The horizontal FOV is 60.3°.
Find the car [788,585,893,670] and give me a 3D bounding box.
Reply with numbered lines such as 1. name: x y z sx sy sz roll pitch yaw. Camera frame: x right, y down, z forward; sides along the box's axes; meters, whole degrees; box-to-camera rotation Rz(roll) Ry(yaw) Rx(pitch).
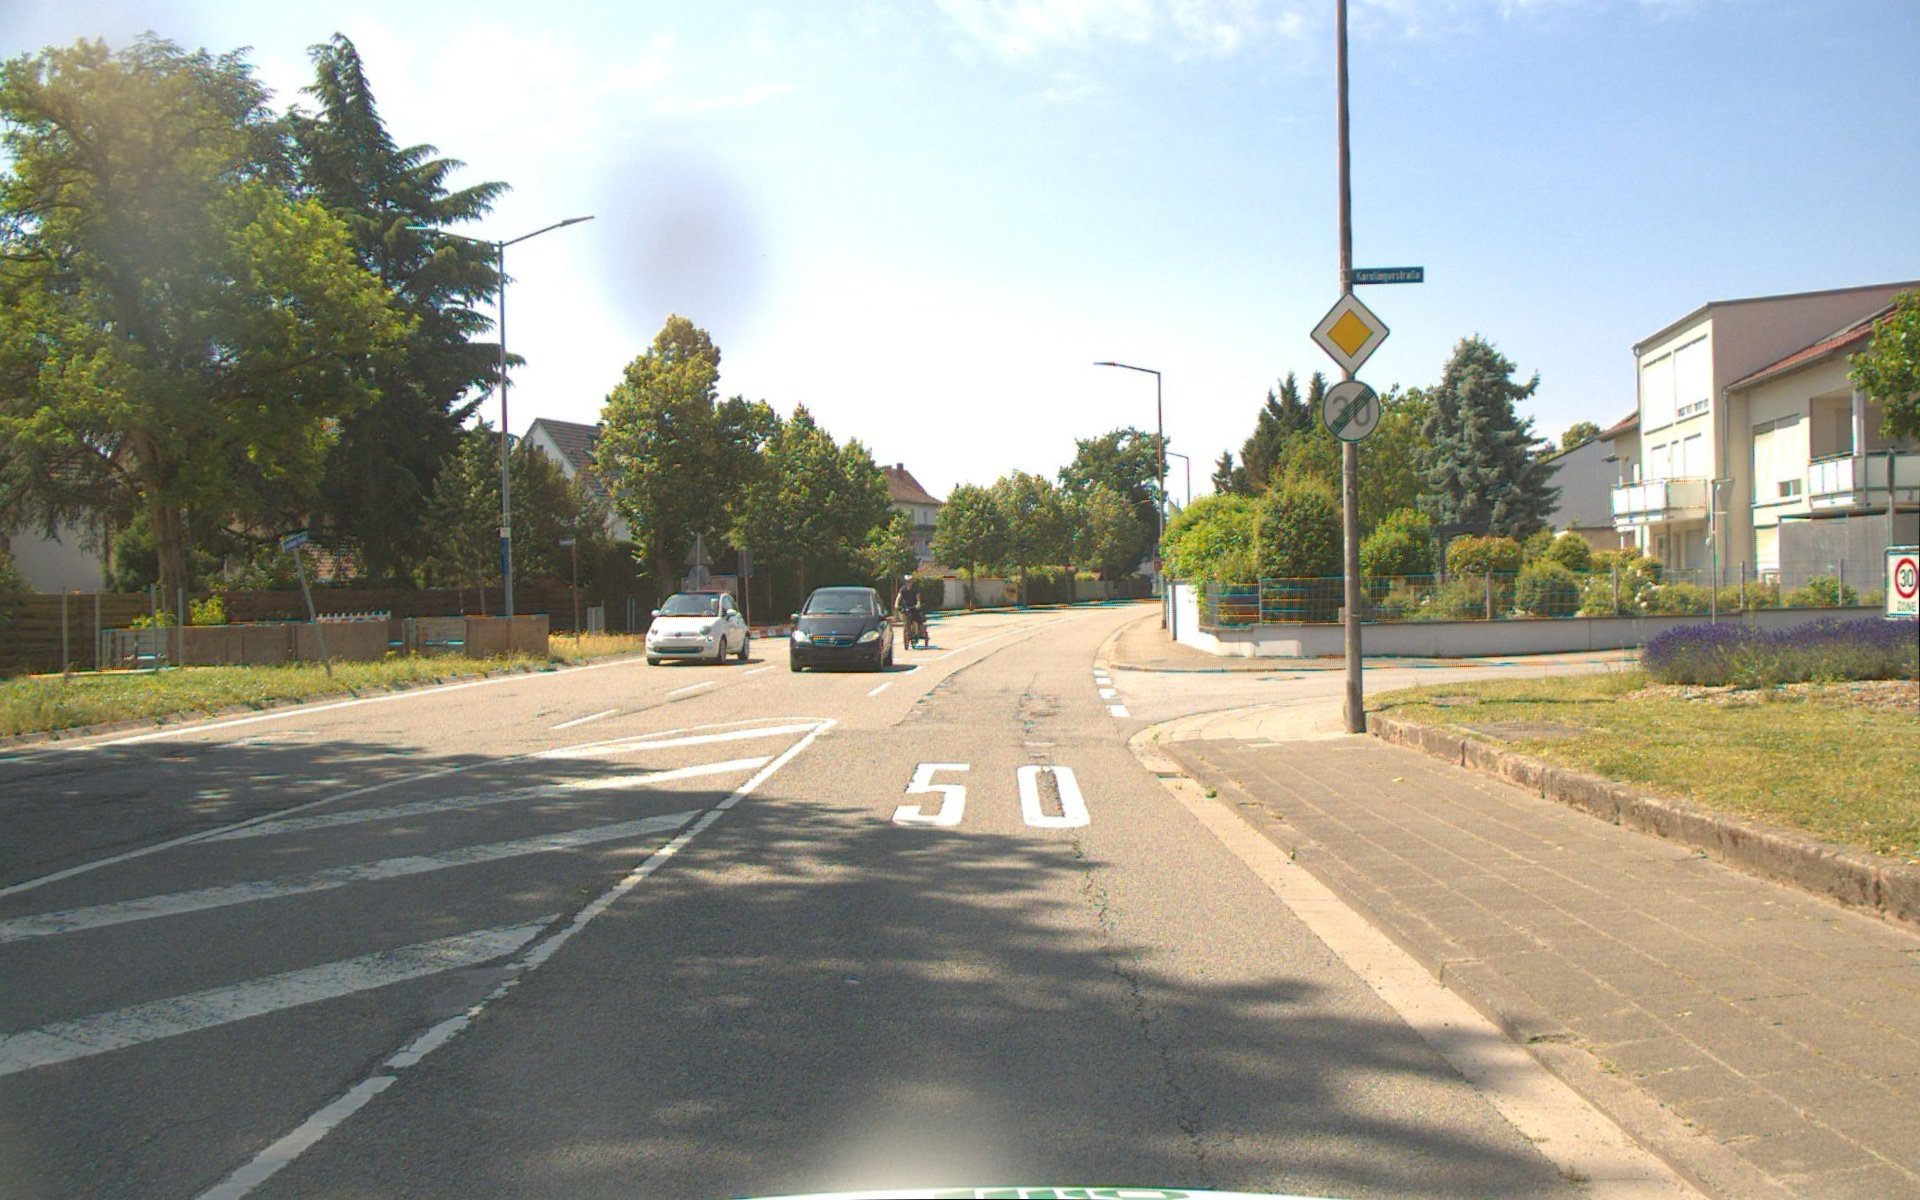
1. car: -2.280 0.498 32.332 1.690 1.559 3.831 0 0 1

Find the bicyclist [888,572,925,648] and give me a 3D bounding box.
1. bicyclist: -1.360 0.242 42.185 0.828 1.898 0.977 -1 0 4

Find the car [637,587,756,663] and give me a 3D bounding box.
1. car: -5.595 0.495 35.493 1.663 1.536 3.461 0 0 6

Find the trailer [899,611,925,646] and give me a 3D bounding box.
1. trailer: -1.264 0.746 43.742 0.558 0.871 1.133 -2 0 4

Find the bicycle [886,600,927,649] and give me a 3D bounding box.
1. bicycle: -1.359 0.606 42.178 0.832 1.186 1.978 -1 0 4
